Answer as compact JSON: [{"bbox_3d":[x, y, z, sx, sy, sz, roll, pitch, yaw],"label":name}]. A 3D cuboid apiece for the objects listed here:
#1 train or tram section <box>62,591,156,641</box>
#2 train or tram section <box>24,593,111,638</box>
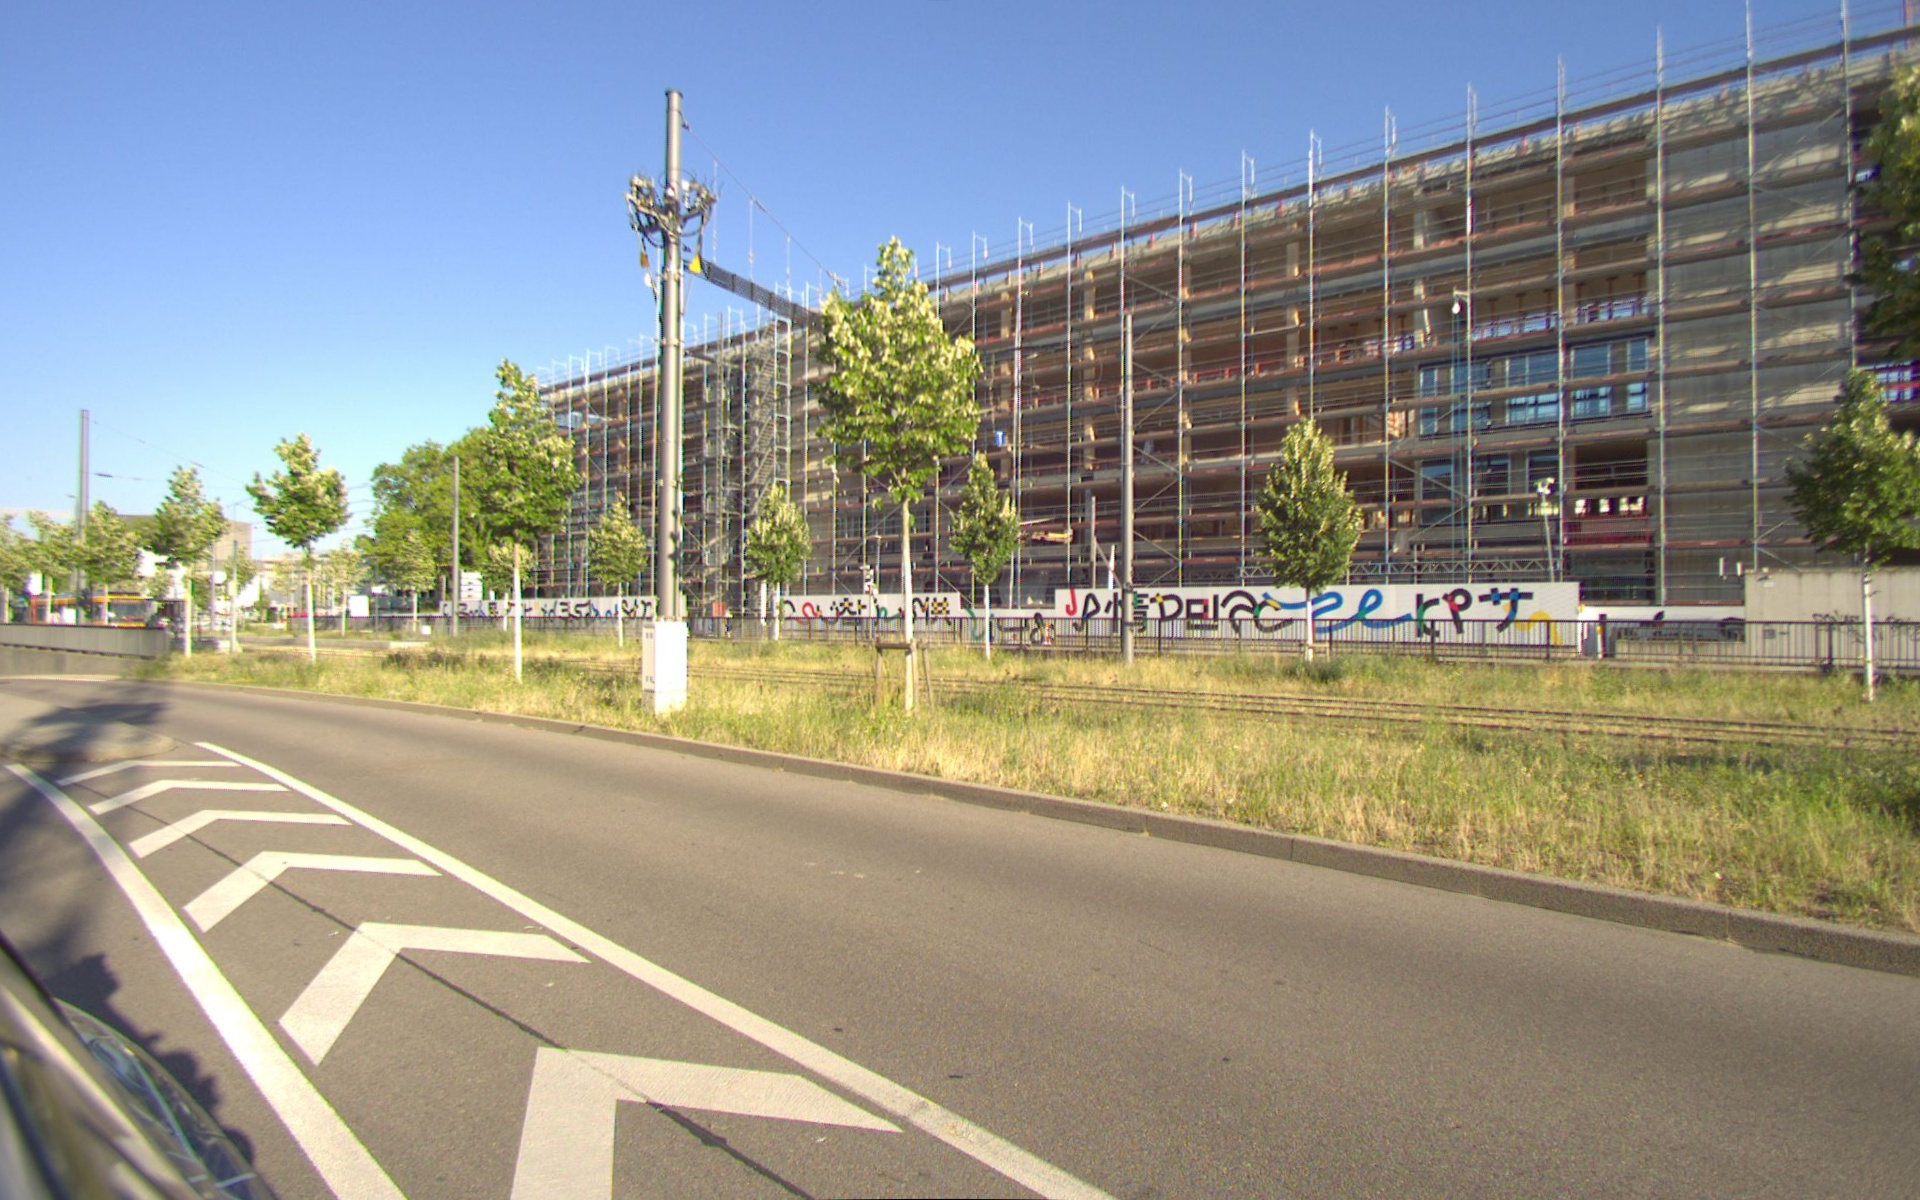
[{"bbox_3d":[-62.659,1.138,74.375,12.619,3.423,2.917,-1,0,39],"label":"train or tram section"},{"bbox_3d":[-73.316,1.285,83.005,14.749,3.423,2.917,-1,0,39],"label":"train or tram section"}]
